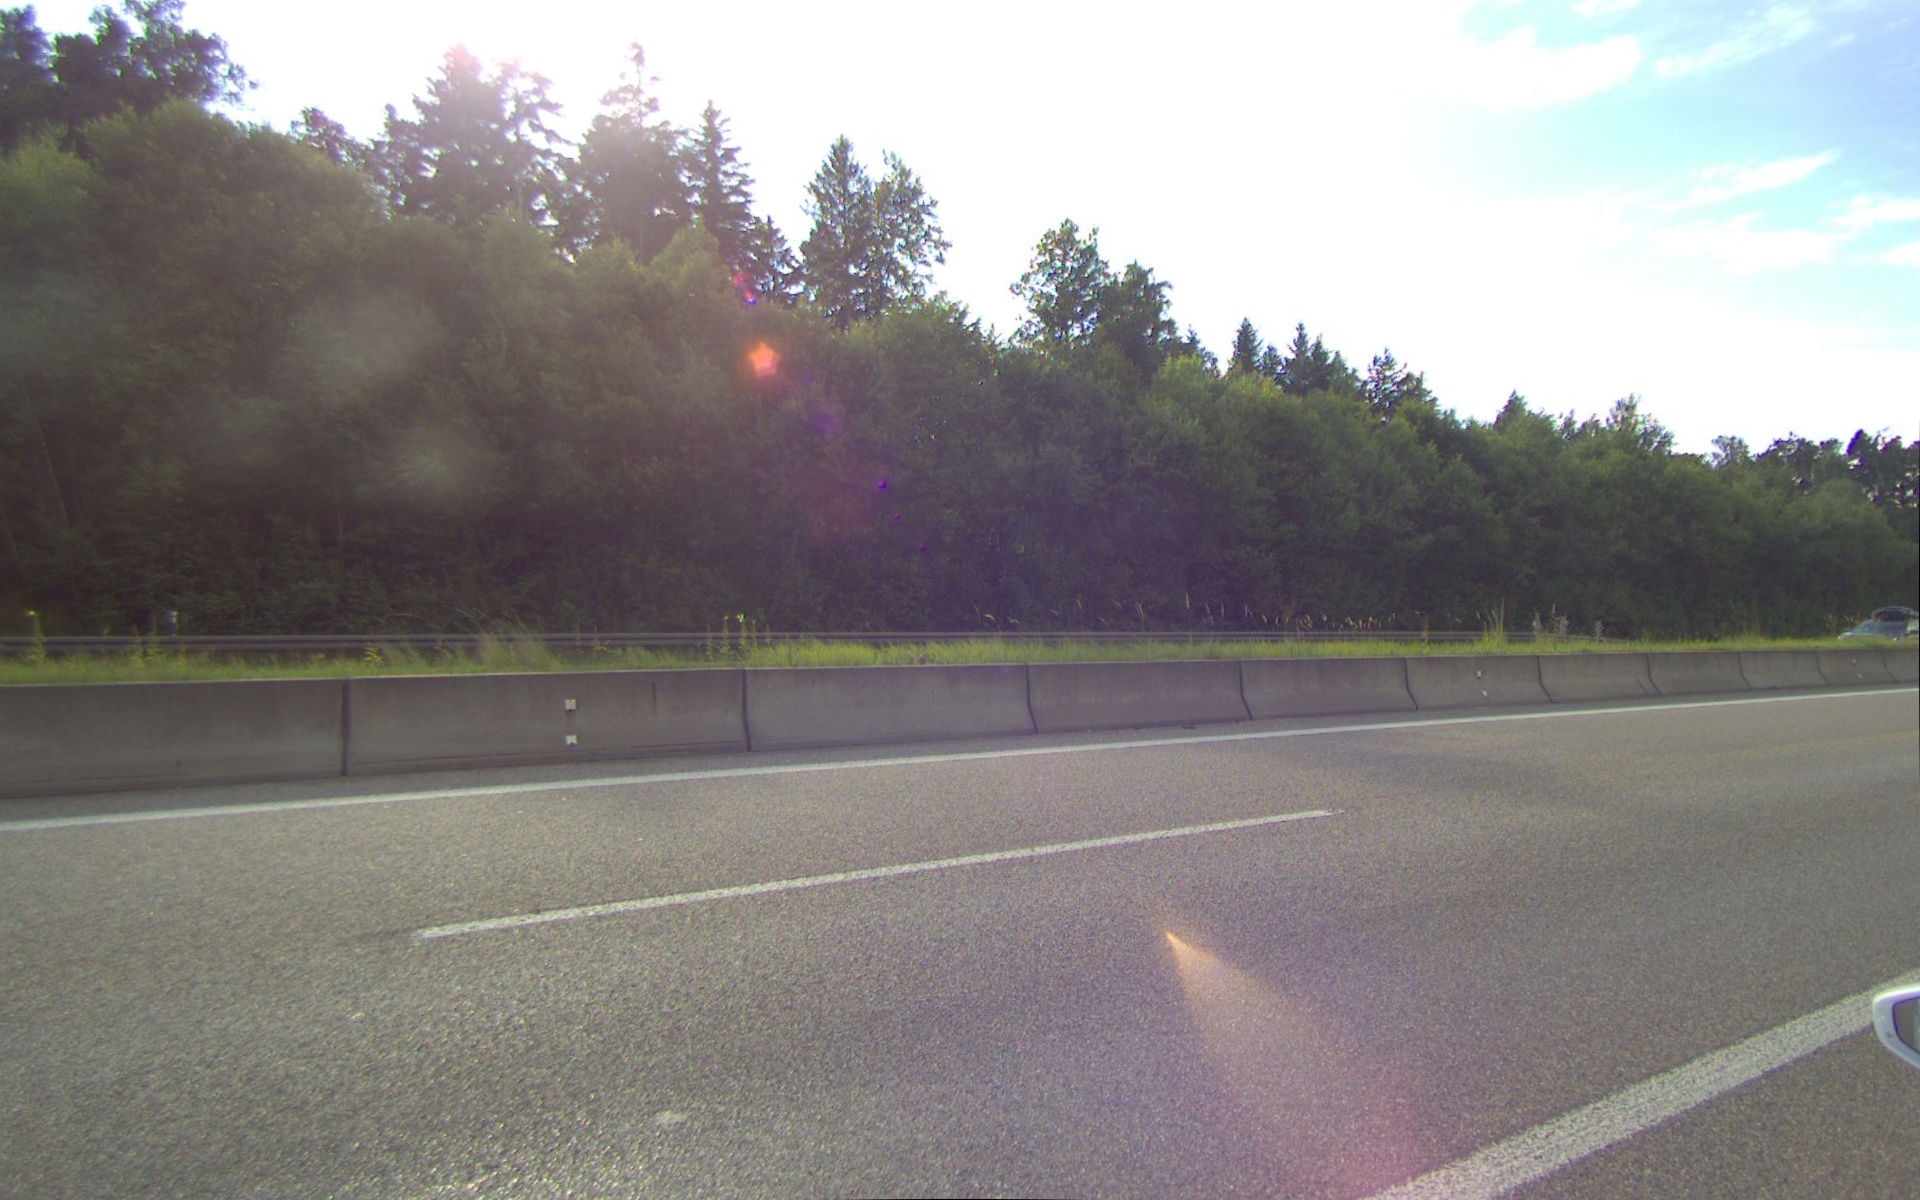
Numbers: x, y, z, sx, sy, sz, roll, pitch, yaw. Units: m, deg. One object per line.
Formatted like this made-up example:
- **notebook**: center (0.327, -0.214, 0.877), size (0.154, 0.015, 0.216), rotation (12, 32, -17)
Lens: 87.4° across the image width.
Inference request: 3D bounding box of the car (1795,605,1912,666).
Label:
- **car**: center (31.894, 1.224, 35.836), size (4.024, 2.040, 1.984), rotation (1, 0, -30)
